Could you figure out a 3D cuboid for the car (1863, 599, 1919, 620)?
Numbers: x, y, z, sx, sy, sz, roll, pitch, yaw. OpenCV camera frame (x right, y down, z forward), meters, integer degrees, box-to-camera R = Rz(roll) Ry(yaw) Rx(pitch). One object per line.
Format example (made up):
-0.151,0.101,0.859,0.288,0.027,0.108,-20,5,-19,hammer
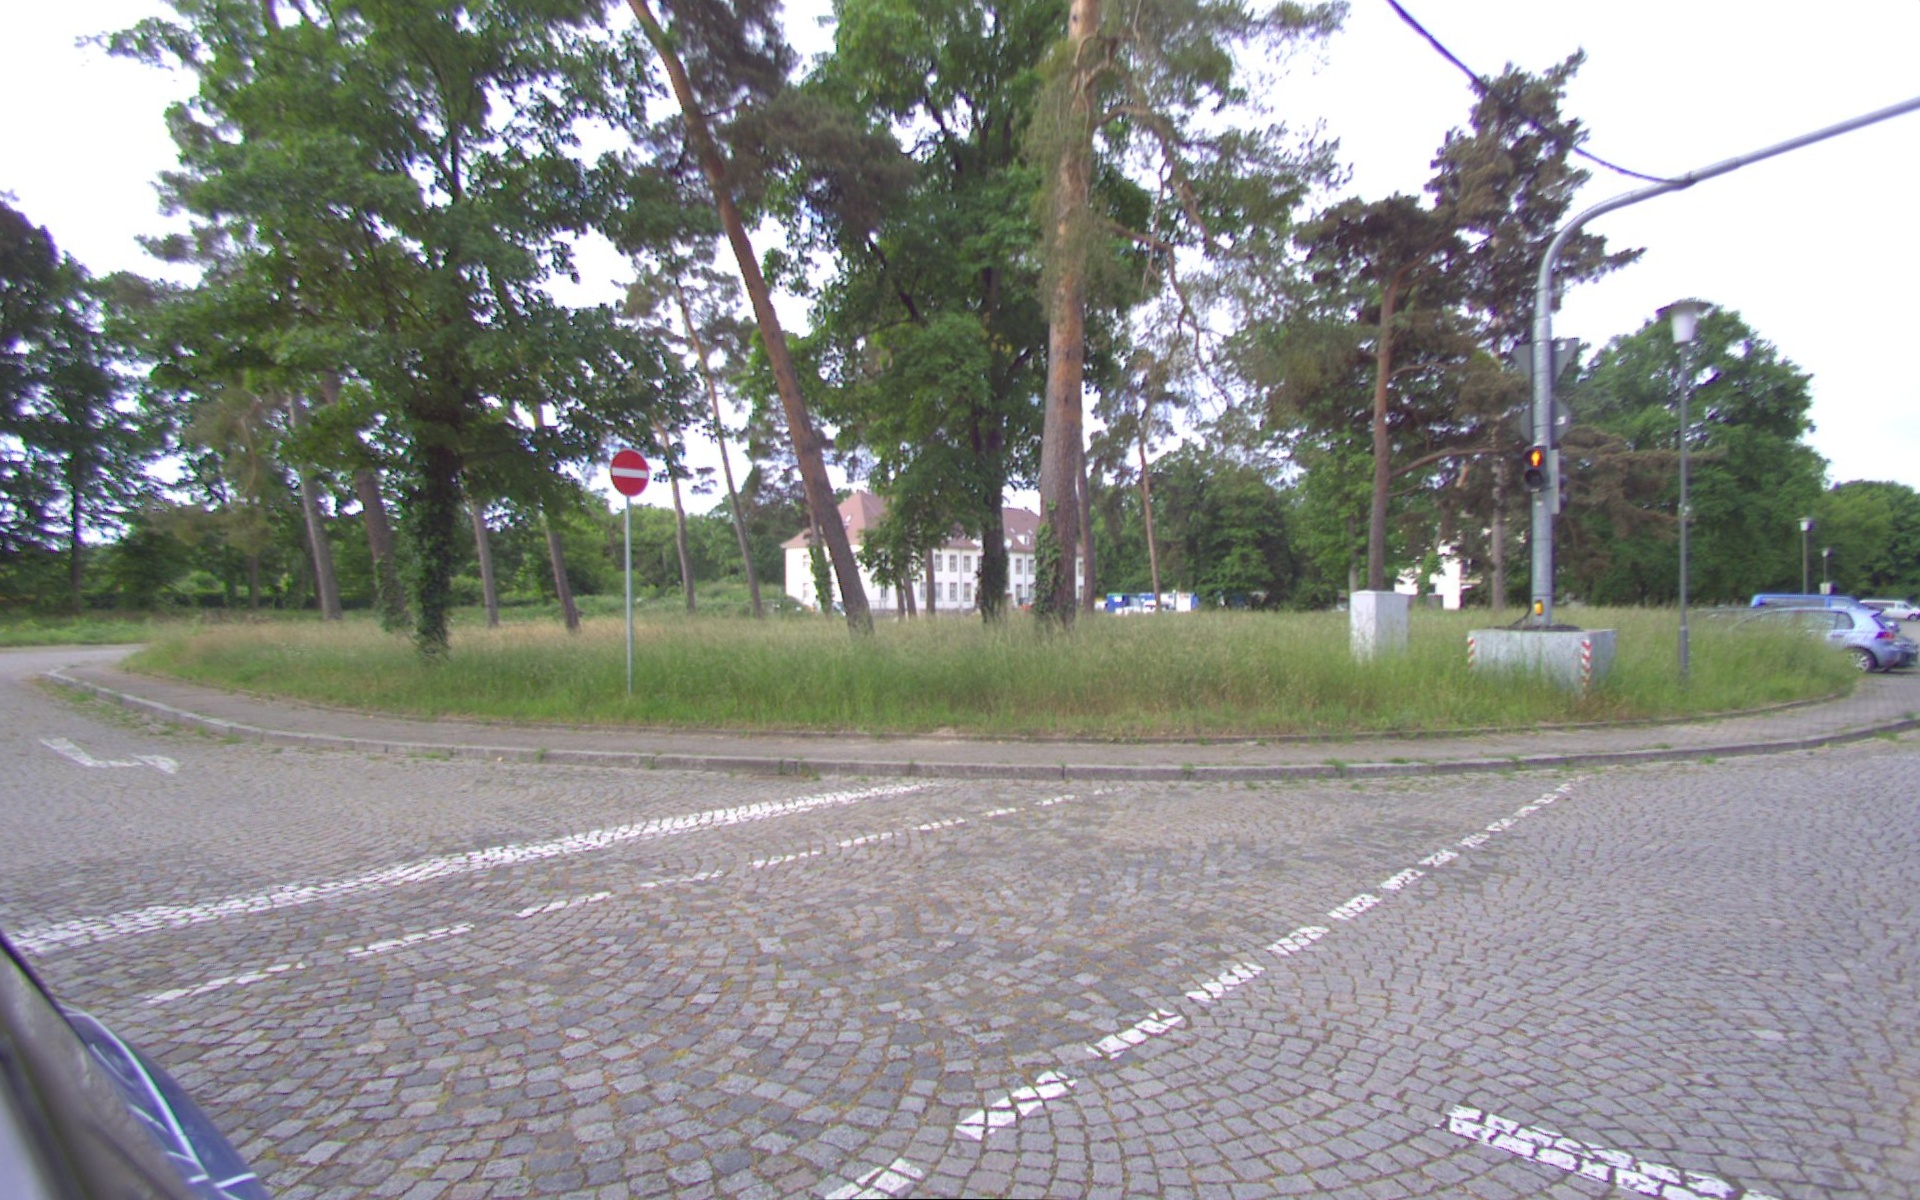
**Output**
90.528,0.909,97.570,5.161,2.029,1.972,-1,-1,42,car

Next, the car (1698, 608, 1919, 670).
20.200,0.874,24.177,4.000,1.364,1.667,-1,-1,43,car

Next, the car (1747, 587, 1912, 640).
34.104,0.558,39.808,4.793,1.996,1.970,-2,-1,42,car

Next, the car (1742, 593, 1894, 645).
30.513,0.682,36.062,4.001,1.727,1.666,-2,-1,44,car

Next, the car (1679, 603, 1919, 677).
18.430,0.829,22.376,3.998,1.483,1.668,-1,-1,41,car
